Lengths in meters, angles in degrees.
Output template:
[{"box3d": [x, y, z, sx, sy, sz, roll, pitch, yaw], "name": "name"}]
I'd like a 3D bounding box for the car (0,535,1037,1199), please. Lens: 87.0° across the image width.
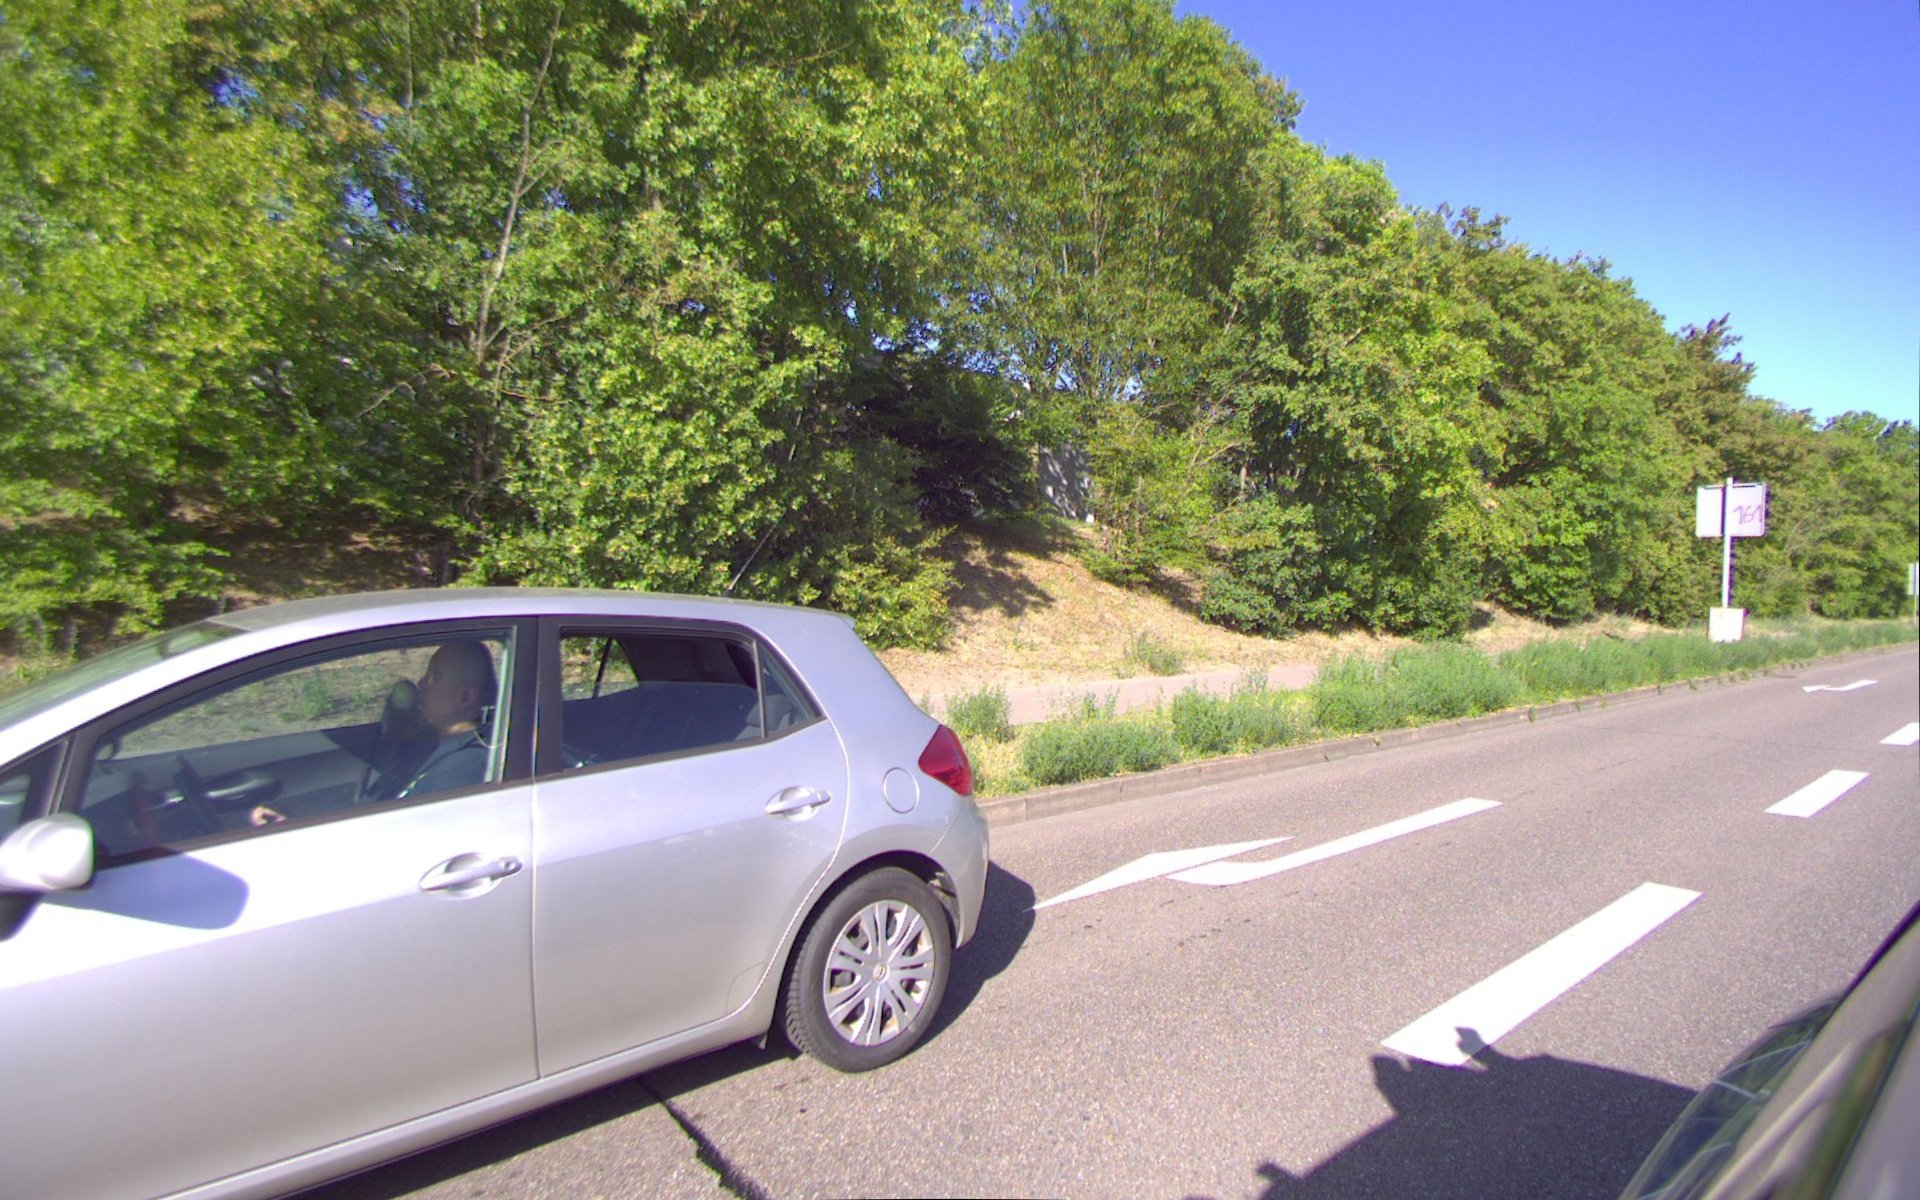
[{"box3d": [-1.824, 0.659, 2.938, 4.036, 1.556, 1.786, 0, 0, -41], "name": "car"}]
